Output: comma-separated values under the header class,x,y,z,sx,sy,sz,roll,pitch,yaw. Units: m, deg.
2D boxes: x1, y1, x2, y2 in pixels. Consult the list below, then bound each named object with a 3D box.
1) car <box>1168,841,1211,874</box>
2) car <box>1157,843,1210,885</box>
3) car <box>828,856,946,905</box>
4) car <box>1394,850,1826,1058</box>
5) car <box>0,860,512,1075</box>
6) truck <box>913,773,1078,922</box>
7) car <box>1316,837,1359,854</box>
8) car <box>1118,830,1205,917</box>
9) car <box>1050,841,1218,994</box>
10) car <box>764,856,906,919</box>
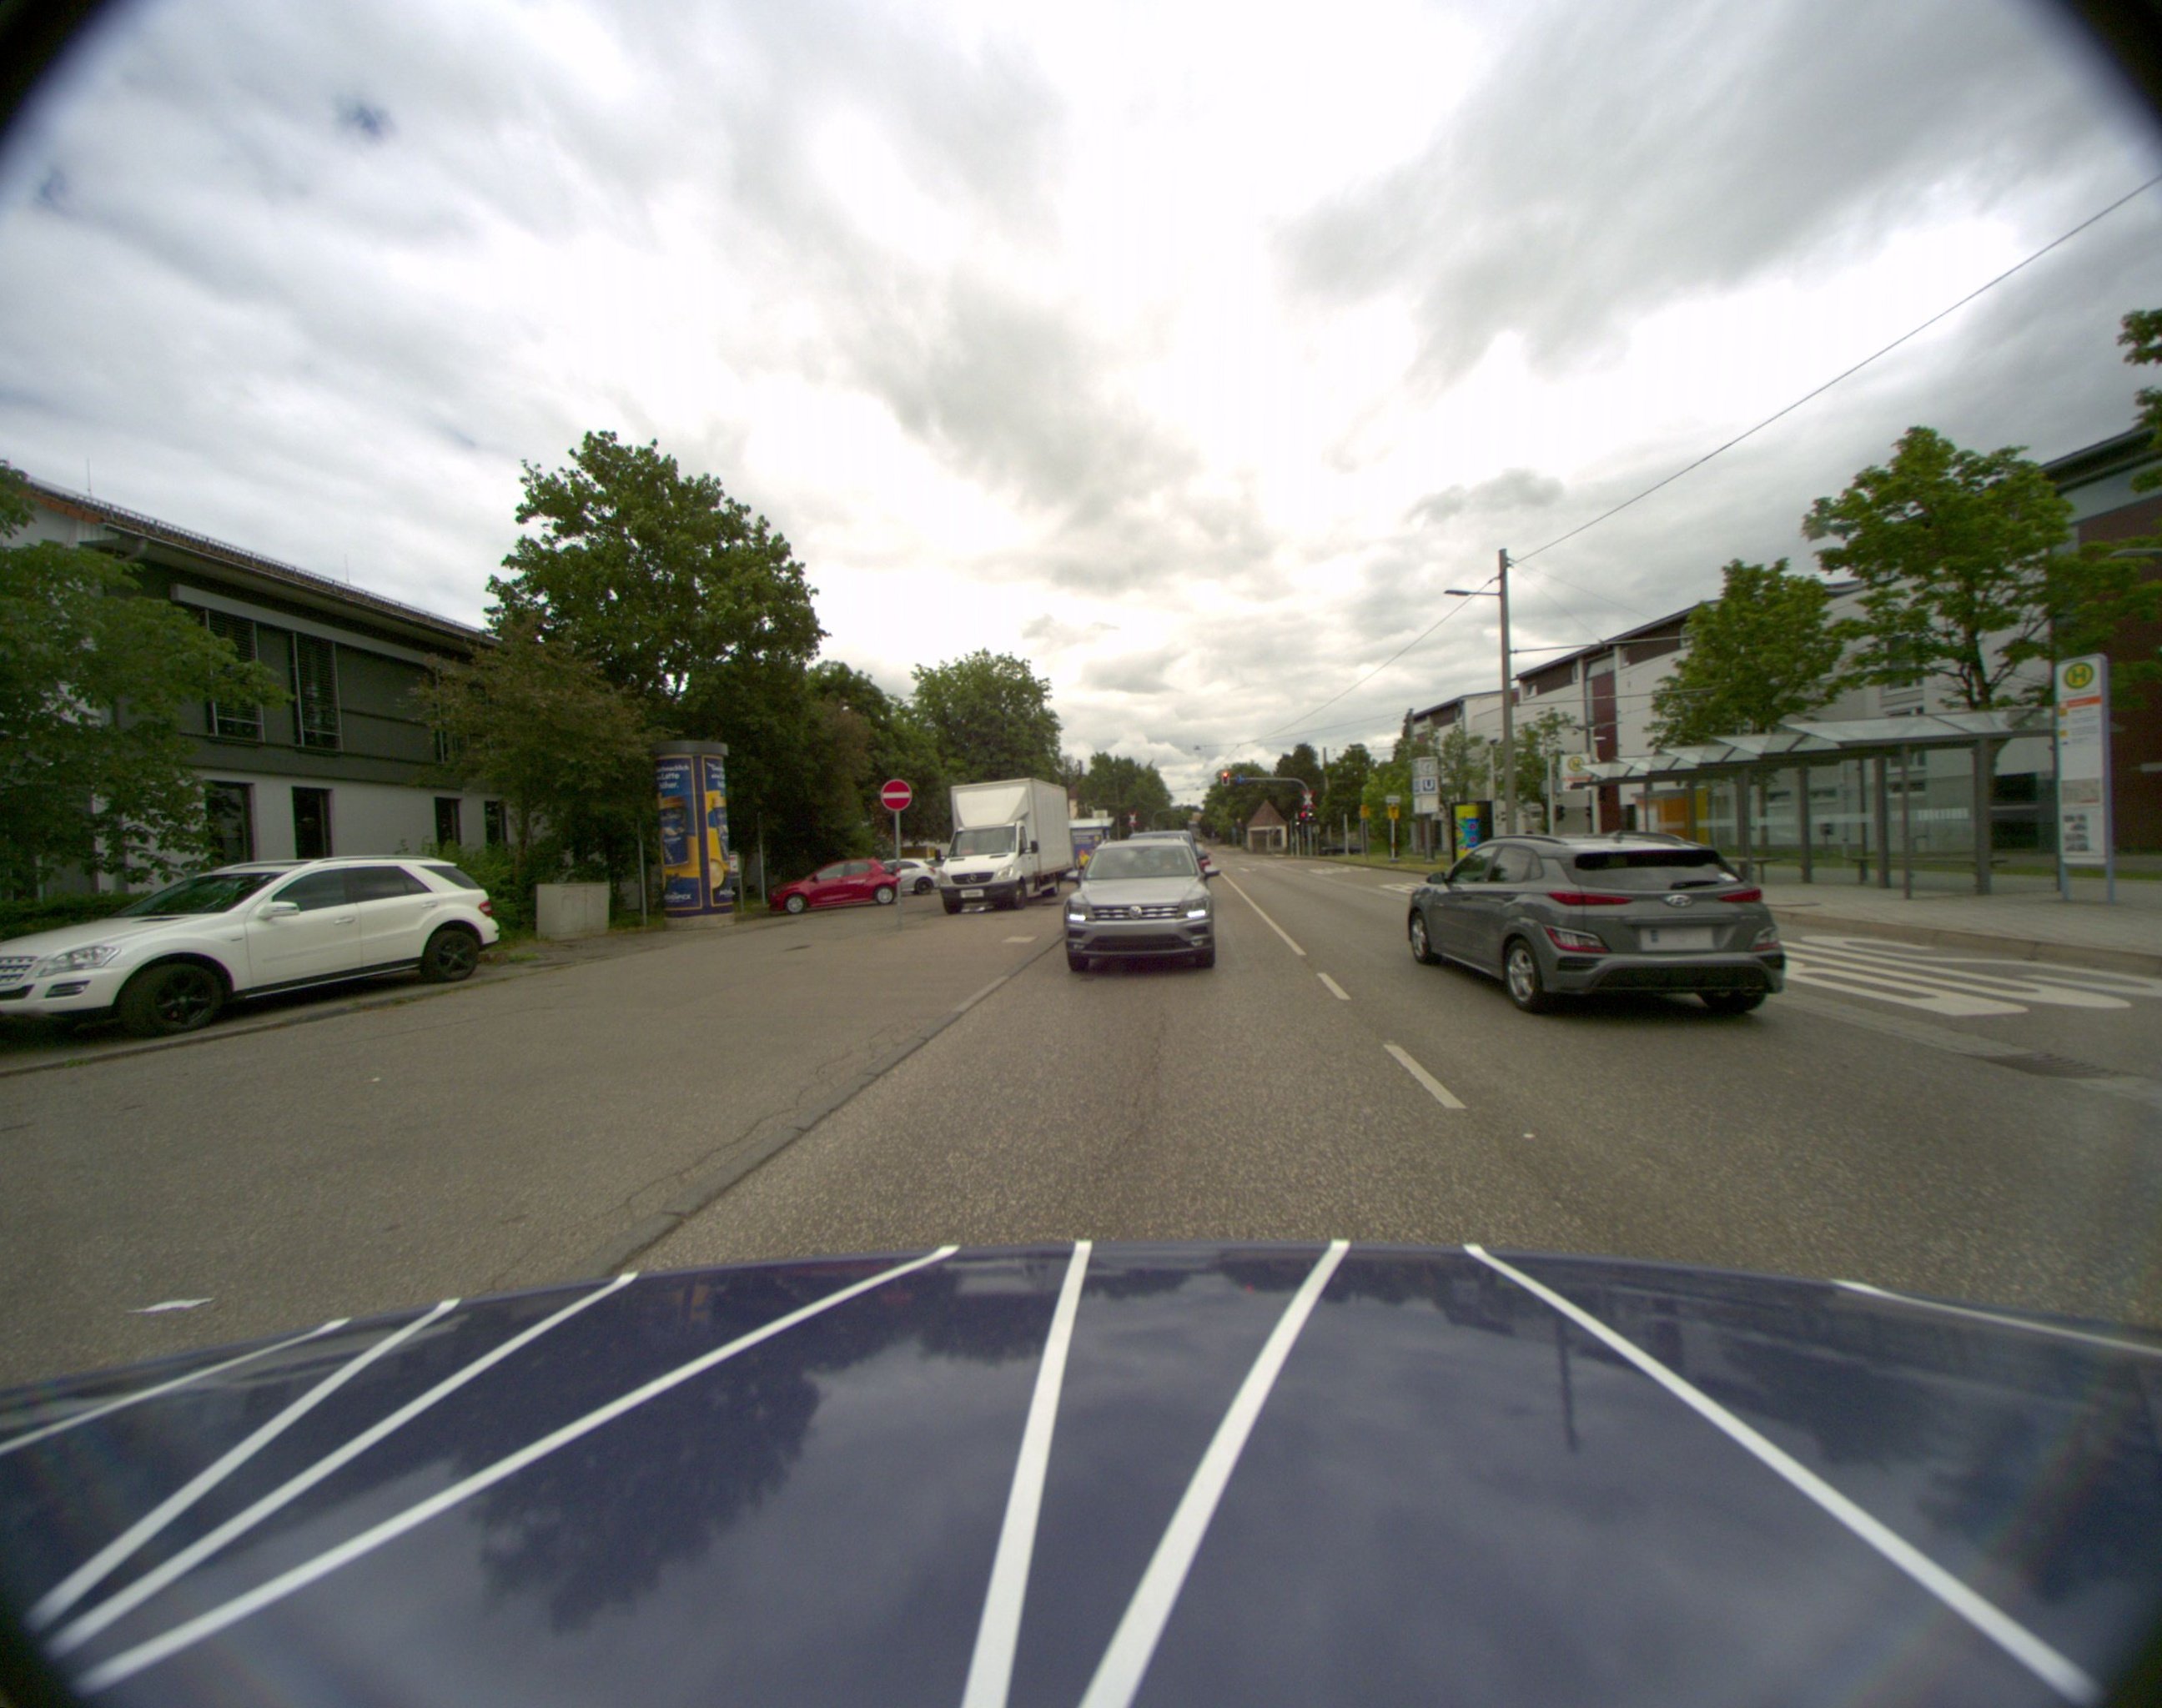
class,x,y,z,sx,sy,sz,roll,pitch,yaw
car,5.590,0.139,39.423,1.849,1.526,4.000,-2,1,4
car,4.169,0.366,31.410,1.849,1.526,4.000,-2,1,4
car,-7.297,0.945,28.609,4.003,1.402,1.521,-5,2,-24
car,4.673,0.729,7.553,1.771,1.470,4.001,-1,1,5
car,-9.786,1.055,9.118,1.856,1.747,4.724,-3,1,8
truck,-2.041,-0.262,21.803,2.539,3.407,7.779,-3,2,9
car,27.593,-0.928,81.744,3.995,1.696,1.929,-3,1,5
car,2.053,0.393,18.732,1.848,1.850,4.002,-3,1,8
car,0.896,0.689,10.689,1.810,1.638,4.332,-3,1,8
car,-7.473,0.966,23.314,3.900,1.475,1.680,-5,2,-17
